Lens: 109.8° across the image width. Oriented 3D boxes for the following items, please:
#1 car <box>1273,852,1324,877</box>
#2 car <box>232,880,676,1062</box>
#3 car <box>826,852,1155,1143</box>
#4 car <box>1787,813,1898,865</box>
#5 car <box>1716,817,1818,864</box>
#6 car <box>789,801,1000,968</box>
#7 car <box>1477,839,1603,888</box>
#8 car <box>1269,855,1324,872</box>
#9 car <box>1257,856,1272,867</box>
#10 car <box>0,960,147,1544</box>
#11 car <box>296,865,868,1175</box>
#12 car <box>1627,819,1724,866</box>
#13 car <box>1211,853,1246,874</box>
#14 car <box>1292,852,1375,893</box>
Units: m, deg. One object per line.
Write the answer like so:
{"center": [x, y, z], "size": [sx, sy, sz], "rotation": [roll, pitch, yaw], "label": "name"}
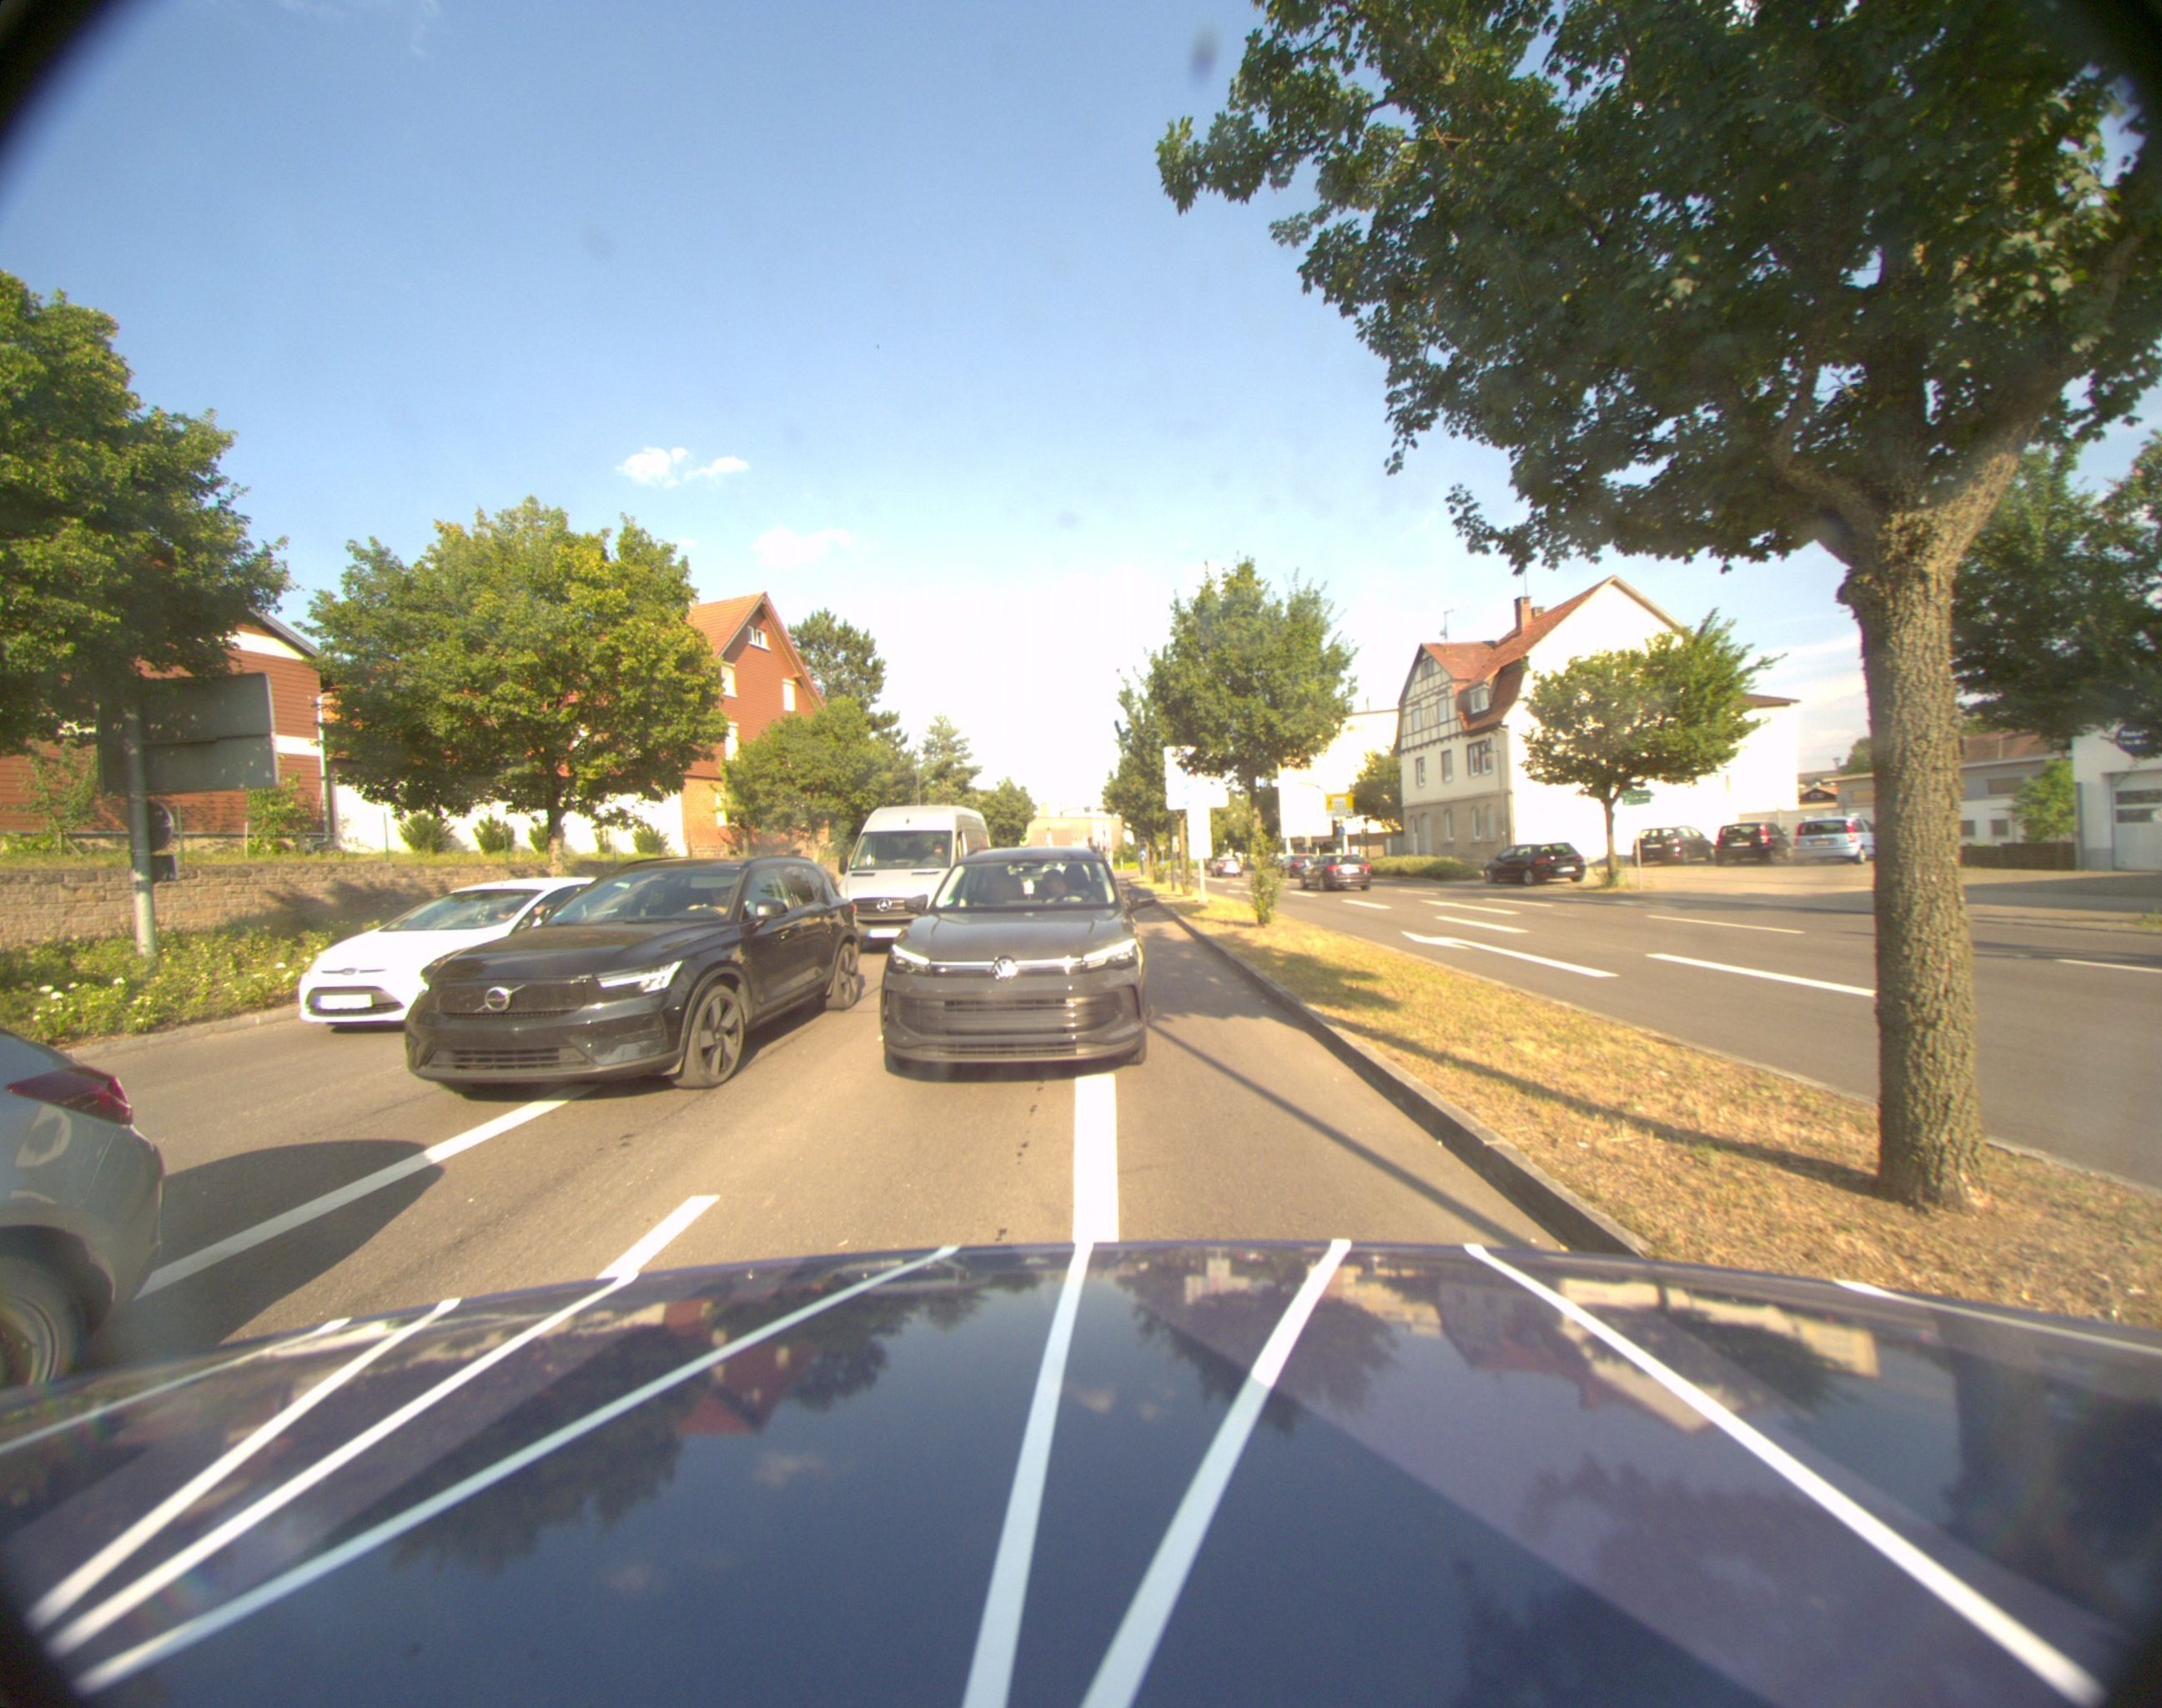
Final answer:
{"center": [13.221, 0.606, 46.445], "size": [1.848, 1.413, 4.644], "rotation": [-2, 0, 1], "label": "car"}
{"center": [-6.796, 1.144, 8.955], "size": [1.733, 1.442, 4.069], "rotation": [-2, 0, 1], "label": "car"}
{"center": [-0.478, 0.851, 6.863], "size": [1.894, 1.647, 4.730], "rotation": [-2, 0, 1], "label": "car"}
{"center": [24.971, -0.489, 24.880], "size": [4.006, 1.543, 1.763], "rotation": [-2, 1, -33], "label": "car"}
{"center": [24.897, -0.490, 27.554], "size": [4.006, 1.543, 1.763], "rotation": [-2, 1, -33], "label": "car"}
{"center": [-3.252, 0.465, 14.967], "size": [2.370, 2.532, 6.192], "rotation": [-2, 0, 2], "label": "car"}
{"center": [16.000, 0.308, 26.791], "size": [1.839, 1.435, 4.195], "rotation": [-5, 0, 1], "label": "car"}
{"center": [19.676, 0.875, 69.526], "size": [4.660, 1.346, 1.768], "rotation": [-2, 1, 9], "label": "car"}
{"center": [29.372, 1.164, 121.681], "size": [1.809, 1.488, 4.251], "rotation": [-2, 0, 21], "label": "car"}
{"center": [-3.630, 1.065, 0.121], "size": [1.748, 1.433, 4.166], "rotation": [-2, 0, 0], "label": "car"}
{"center": [-3.376, 0.969, 6.317], "size": [1.886, 1.599, 4.128], "rotation": [-2, 0, 2], "label": "car"}
{"center": [23.385, -0.450, 29.857], "size": [4.006, 1.543, 1.764], "rotation": [-4, 1, -33], "label": "car"}
{"center": [10.534, 0.680, 54.606], "size": [1.784, 1.341, 4.479], "rotation": [-2, 0, 2], "label": "car"}
{"center": [9.498, 0.635, 28.896], "size": [1.649, 1.378, 4.189], "rotation": [-2, 0, -1], "label": "car"}
